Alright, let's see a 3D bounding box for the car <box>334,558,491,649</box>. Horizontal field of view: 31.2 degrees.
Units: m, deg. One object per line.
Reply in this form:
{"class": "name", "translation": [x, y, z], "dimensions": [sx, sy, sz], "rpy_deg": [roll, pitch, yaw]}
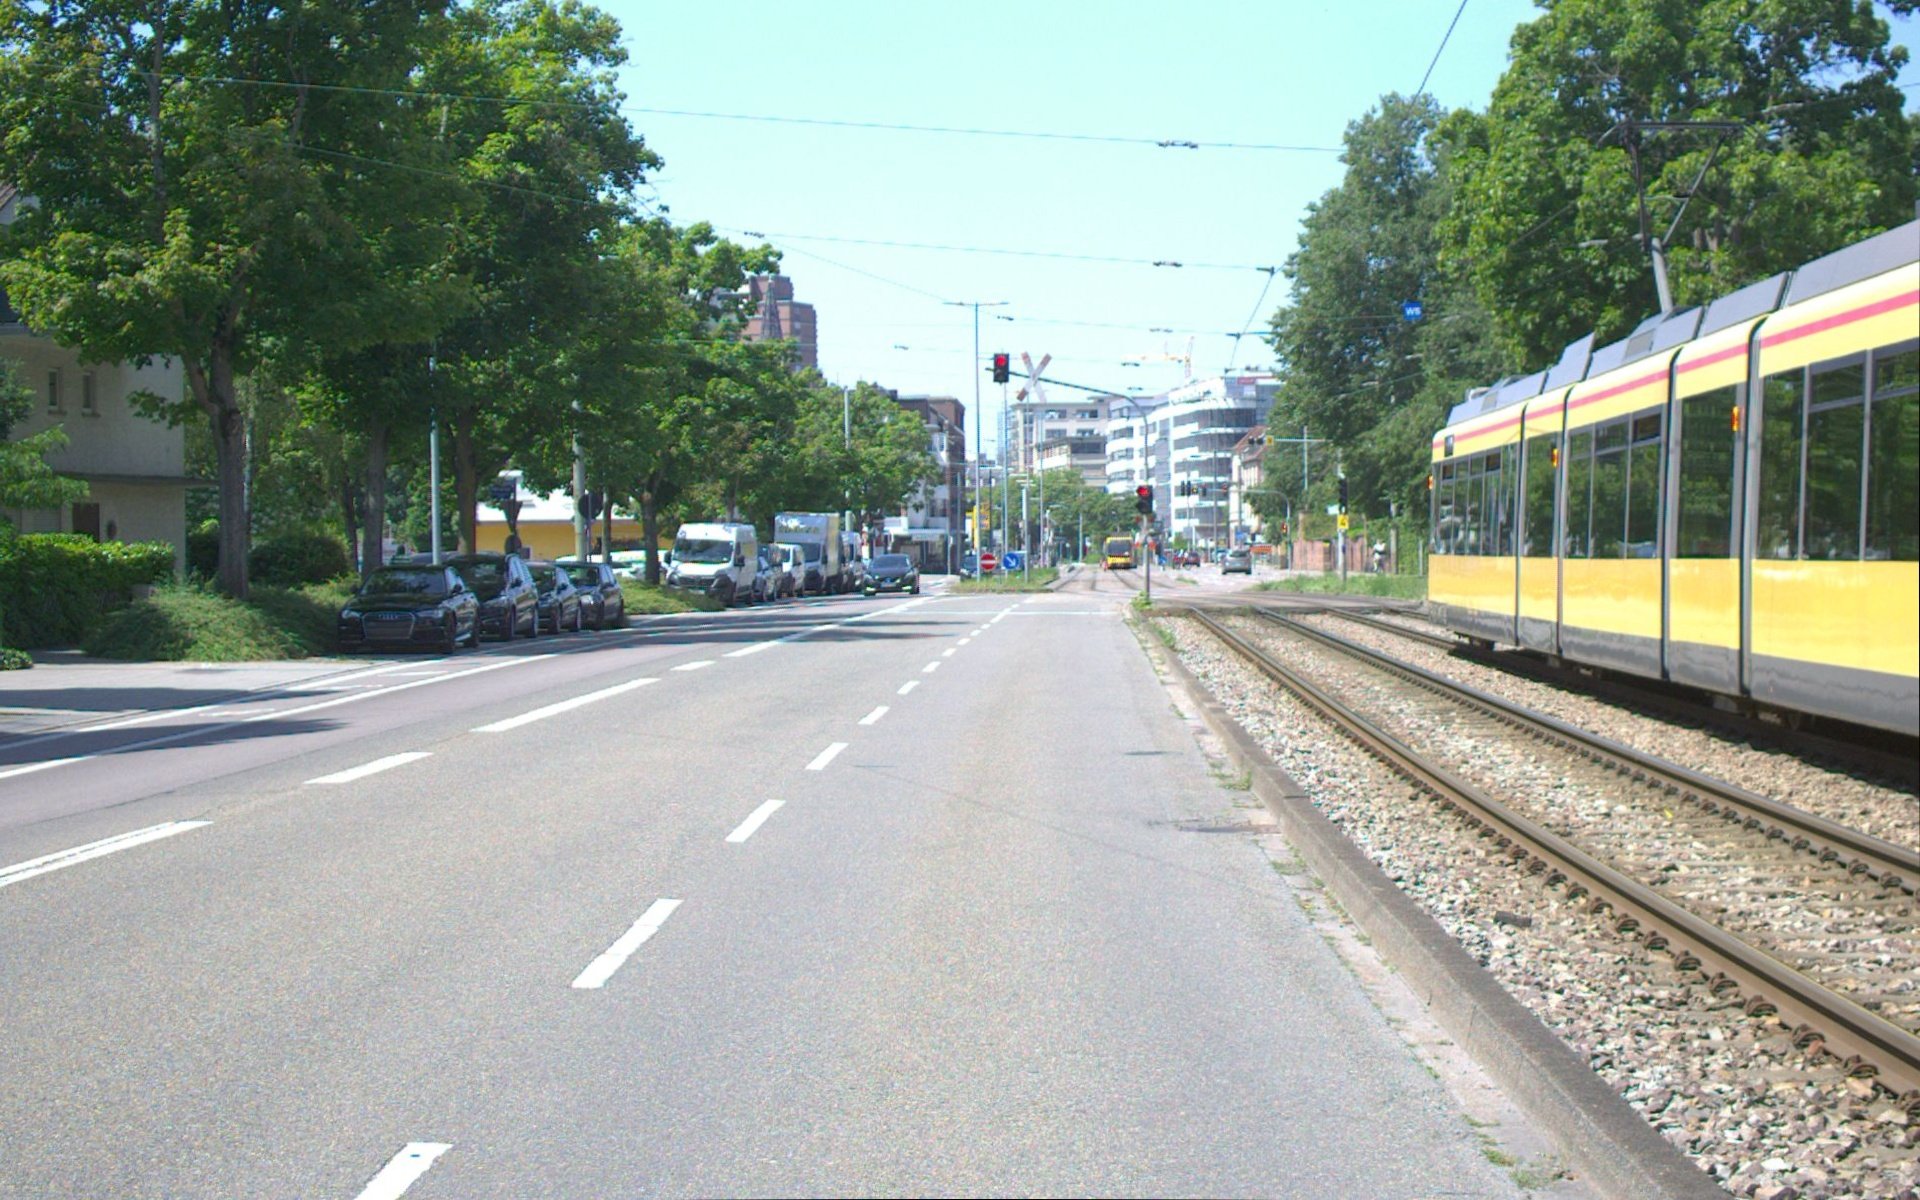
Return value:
{"class": "car", "translation": [-9.127, 0.026, 57.638], "dimensions": [1.775, 1.451, 4.804], "rpy_deg": [0, 1, 1]}

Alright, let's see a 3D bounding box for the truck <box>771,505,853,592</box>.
{"class": "truck", "translation": [-5.686, -2.012, 133.361], "dimensions": [2.157, 3.199, 7.081], "rpy_deg": [3, 1, 5]}

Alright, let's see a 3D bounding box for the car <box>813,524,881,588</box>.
{"class": "car", "translation": [-4.857, -1.926, 148.630], "dimensions": [2.157, 2.630, 5.610], "rpy_deg": [3, 1, 5]}

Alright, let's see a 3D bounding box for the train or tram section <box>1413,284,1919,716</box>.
{"class": "train or tram section", "translation": [7.532, -1.025, 39.537], "dimensions": [2.944, 3.679, 20.282], "rpy_deg": [0, 1, 3]}

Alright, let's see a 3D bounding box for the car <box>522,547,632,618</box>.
{"class": "car", "translation": [-8.371, -0.404, 75.499], "dimensions": [1.775, 1.476, 4.047], "rpy_deg": [1, 1, 2]}

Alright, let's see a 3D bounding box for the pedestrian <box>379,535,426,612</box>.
{"class": "pedestrian", "translation": [-13.408, -0.642, 82.665], "dimensions": [0.974, 1.817, 0.794], "rpy_deg": [-1, 1, 0]}

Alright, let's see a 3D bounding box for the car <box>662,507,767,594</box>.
{"class": "car", "translation": [-7.482, -1.521, 105.274], "dimensions": [2.157, 2.478, 6.192], "rpy_deg": [3, 1, 5]}

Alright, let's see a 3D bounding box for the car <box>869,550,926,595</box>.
{"class": "car", "translation": [-2.142, -0.968, 118.556], "dimensions": [1.775, 1.455, 4.195], "rpy_deg": [-2, 1, 1]}

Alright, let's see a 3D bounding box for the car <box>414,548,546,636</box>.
{"class": "car", "translation": [-9.065, -0.179, 65.189], "dimensions": [1.775, 1.598, 4.637], "rpy_deg": [1, 1, 1]}

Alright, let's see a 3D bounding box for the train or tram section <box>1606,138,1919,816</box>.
{"class": "train or tram section", "translation": [6.726, -0.689, 20.214], "dimensions": [2.944, 3.679, 18.389], "rpy_deg": [0, 1, 2]}

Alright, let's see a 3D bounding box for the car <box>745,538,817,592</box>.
{"class": "car", "translation": [-6.478, -1.284, 124.978], "dimensions": [2.061, 1.891, 4.870], "rpy_deg": [-1, 1, 3]}

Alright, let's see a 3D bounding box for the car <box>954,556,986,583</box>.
{"class": "car", "translation": [0.575, -1.703, 191.144], "dimensions": [1.678, 1.393, 4.006], "rpy_deg": [-3, 1, 1]}

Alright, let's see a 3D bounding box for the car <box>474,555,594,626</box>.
{"class": "car", "translation": [-8.735, -0.215, 70.812], "dimensions": [1.775, 1.368, 4.697], "rpy_deg": [1, 1, 1]}
